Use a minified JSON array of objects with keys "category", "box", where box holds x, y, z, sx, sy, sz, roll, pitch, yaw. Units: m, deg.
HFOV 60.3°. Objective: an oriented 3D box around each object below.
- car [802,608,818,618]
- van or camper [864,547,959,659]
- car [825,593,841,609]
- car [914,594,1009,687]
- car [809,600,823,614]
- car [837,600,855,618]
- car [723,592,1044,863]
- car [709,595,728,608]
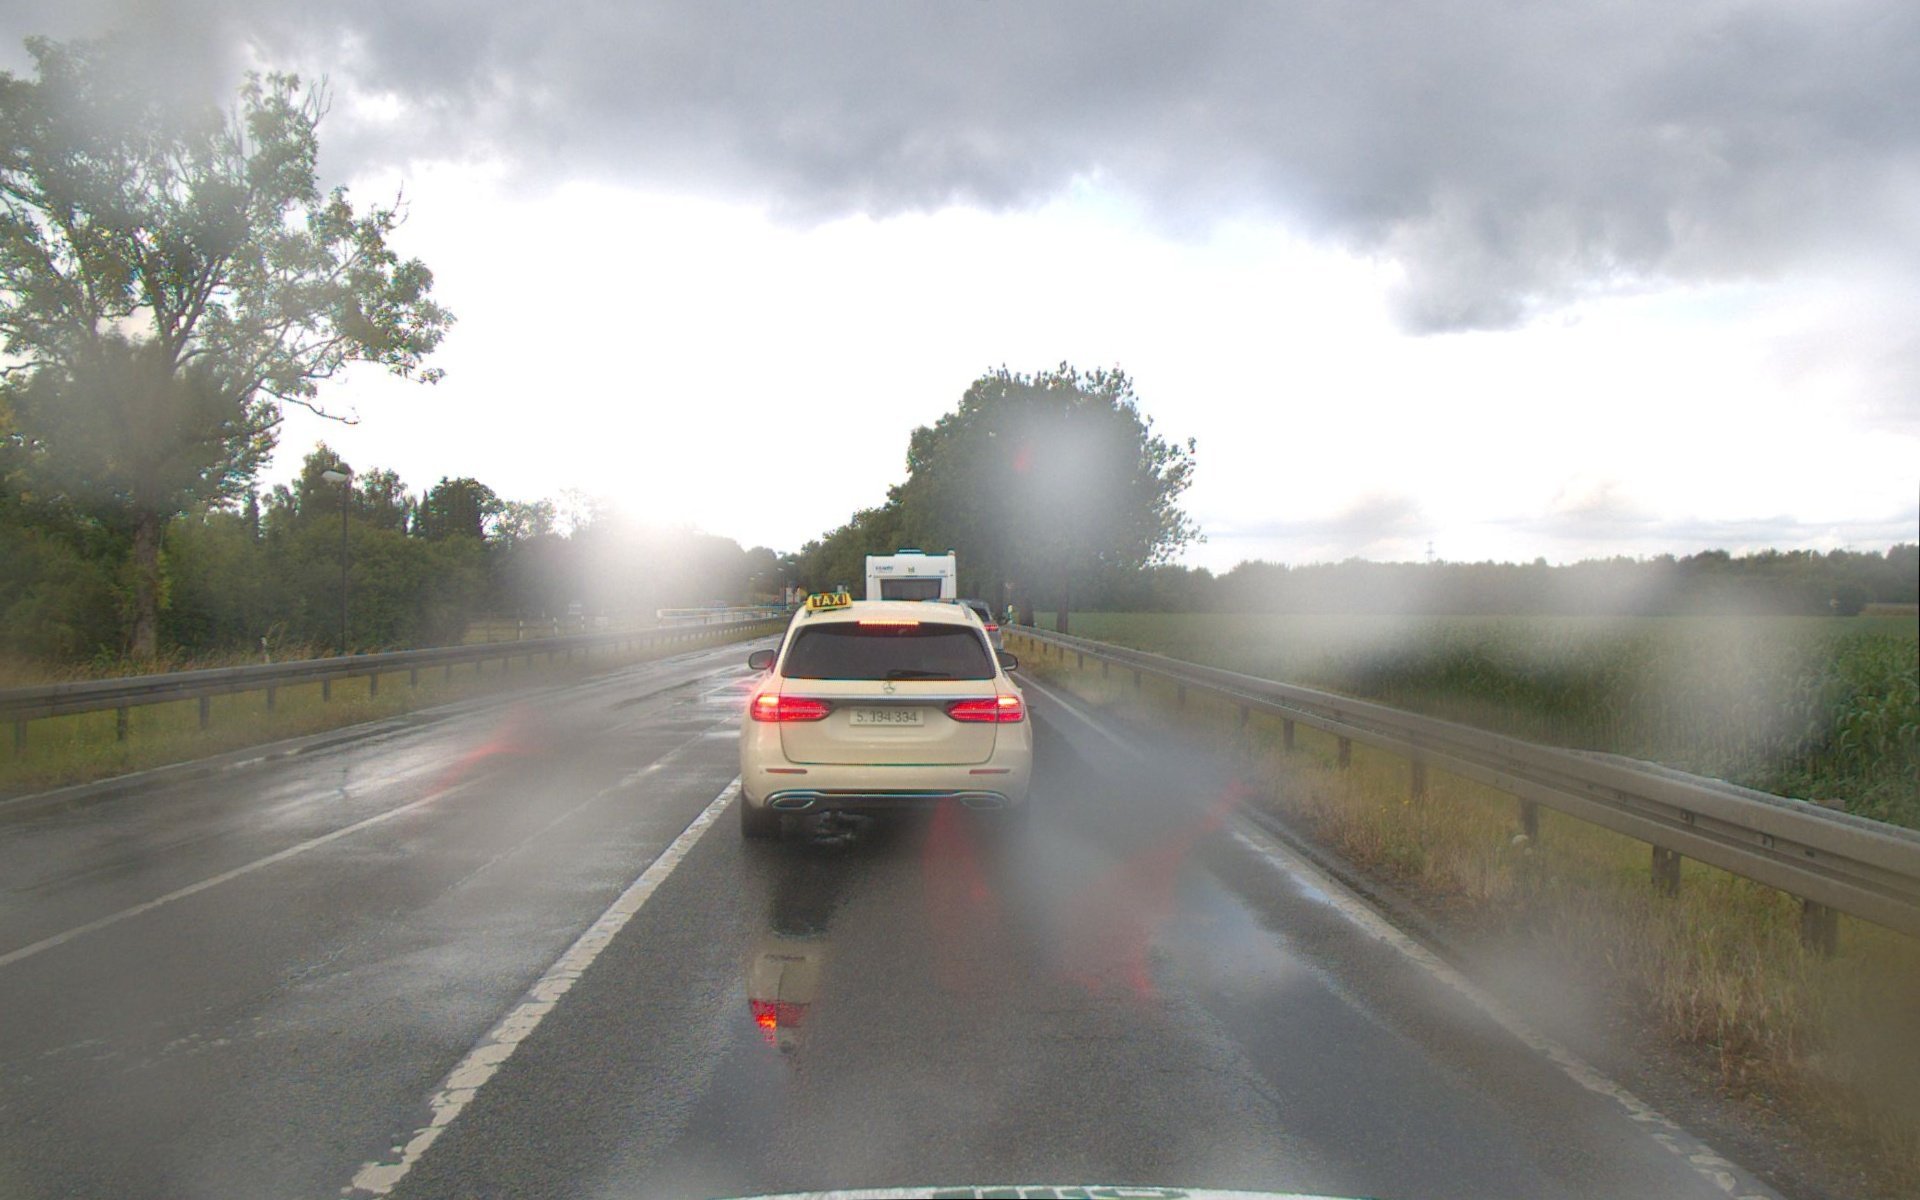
[{"category":"car","box":[-19.410,1.629,213.893,1.723,1.291,3.999,0,0,-1]},{"category":"van or camper","box":[-1.249,0.059,43.129,2.303,2.727,5.767,0,0,-1]},{"category":"car","box":[-16.078,0.126,208.800,1.954,2.049,3.997,0,0,-4]},{"category":"car","box":[-0.016,0.671,29.697,1.594,1.556,3.931,0,0,-1]},{"category":"car","box":[-21.288,0.971,244.012,1.955,2.049,3.994,0,0,-6]},{"category":"car","box":[-13.526,1.108,196.424,1.953,2.087,3.999,0,0,-1]},{"category":"car","box":[-0.429,0.718,11.308,1.787,1.511,4.145,0,0,0]},{"category":"car","box":[-32.152,0.221,220.303,1.953,1.680,4.000,0,0,0]}]
